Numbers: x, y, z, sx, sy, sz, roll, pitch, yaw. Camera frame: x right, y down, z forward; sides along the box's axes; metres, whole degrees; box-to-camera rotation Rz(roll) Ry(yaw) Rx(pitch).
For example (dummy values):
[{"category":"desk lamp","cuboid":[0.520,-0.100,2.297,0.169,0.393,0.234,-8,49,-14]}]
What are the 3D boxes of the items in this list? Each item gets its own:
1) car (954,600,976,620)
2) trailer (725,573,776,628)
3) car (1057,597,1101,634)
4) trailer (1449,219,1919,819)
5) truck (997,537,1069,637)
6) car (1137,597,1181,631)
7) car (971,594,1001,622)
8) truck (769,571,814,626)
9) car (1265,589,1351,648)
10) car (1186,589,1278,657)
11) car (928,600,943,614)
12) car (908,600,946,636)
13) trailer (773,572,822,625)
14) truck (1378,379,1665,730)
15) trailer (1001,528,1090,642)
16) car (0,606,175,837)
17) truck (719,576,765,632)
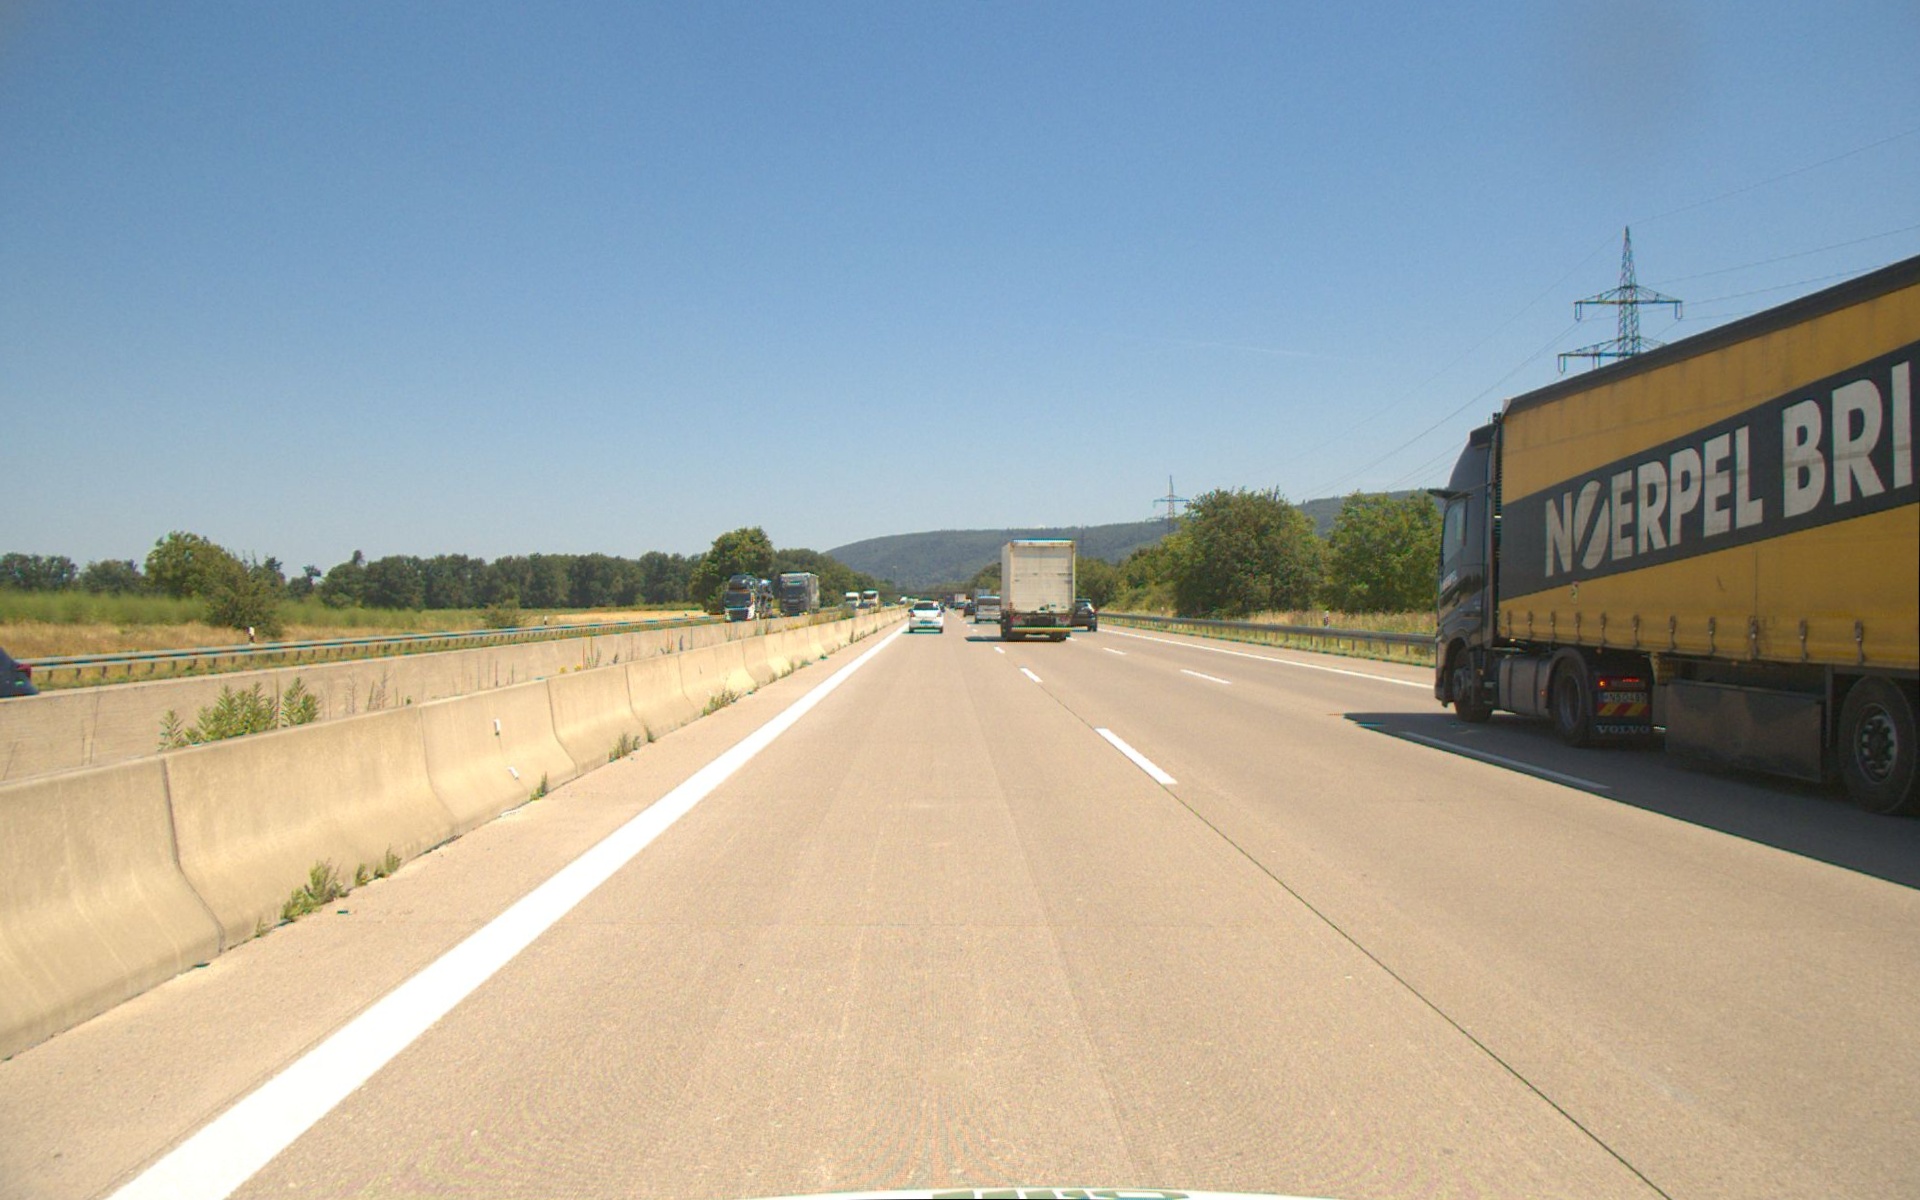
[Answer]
[{"category":"car","cuboid":[0.505,1.030,167.631,1.953,1.881,3.998,3,0,-2]},{"category":"trailer","cuboid":[-18.675,0.061,148.102,3.166,4.687,12.290,1,0,-1]},{"category":"car","cuboid":[6.405,0.828,89.375,1.953,1.881,3.999,3,0,-1]},{"category":"trailer","cuboid":[7.738,-0.560,15.048,1.953,4.266,14.742,1,0,-1]},{"category":"truck","cuboid":[2.970,-0.524,68.457,2.529,3.945,4.982,1,0,-2]},{"category":"car","cuboid":[11.629,0.805,96.852,1.953,1.881,3.999,3,0,-1]},{"category":"car","cuboid":[1.835,0.552,116.685,1.953,1.881,3.999,1,0,-1]},{"category":"truck","cuboid":[-14.570,-0.122,143.671,3.201,4.554,7.187,-1,0,-1]},{"category":"car","cuboid":[11.955,0.628,57.052,1.953,1.881,3.999,3,0,-1]},{"category":"car","cuboid":[8.160,0.666,49.899,1.953,1.881,3.999,3,0,-1]},{"category":"car","cuboid":[-3.377,0.988,227.092,1.953,1.881,3.999,3,0,-1]},{"category":"car","cuboid":[-1.641,0.870,81.004,1.783,1.691,3.998,0,0,-2]},{"category":"trailer","cuboid":[-14.742,-0.104,150.706,3.201,4.554,14.447,-1,0,-1]},{"category":"truck","cuboid":[7.608,-0.549,23.136,1.953,4.266,5.705,1,0,-1]},{"category":"trailer","cuboid":[3.108,-0.511,62.949,2.529,3.945,10.369,1,0,-2]},{"category":"car","cuboid":[-8.962,1.010,14.121,1.953,1.895,5.466,1,0,-1]},{"category":"truck","cuboid":[-18.572,0.335,141.361,3.166,4.687,6.249,1,0,-1]}]
